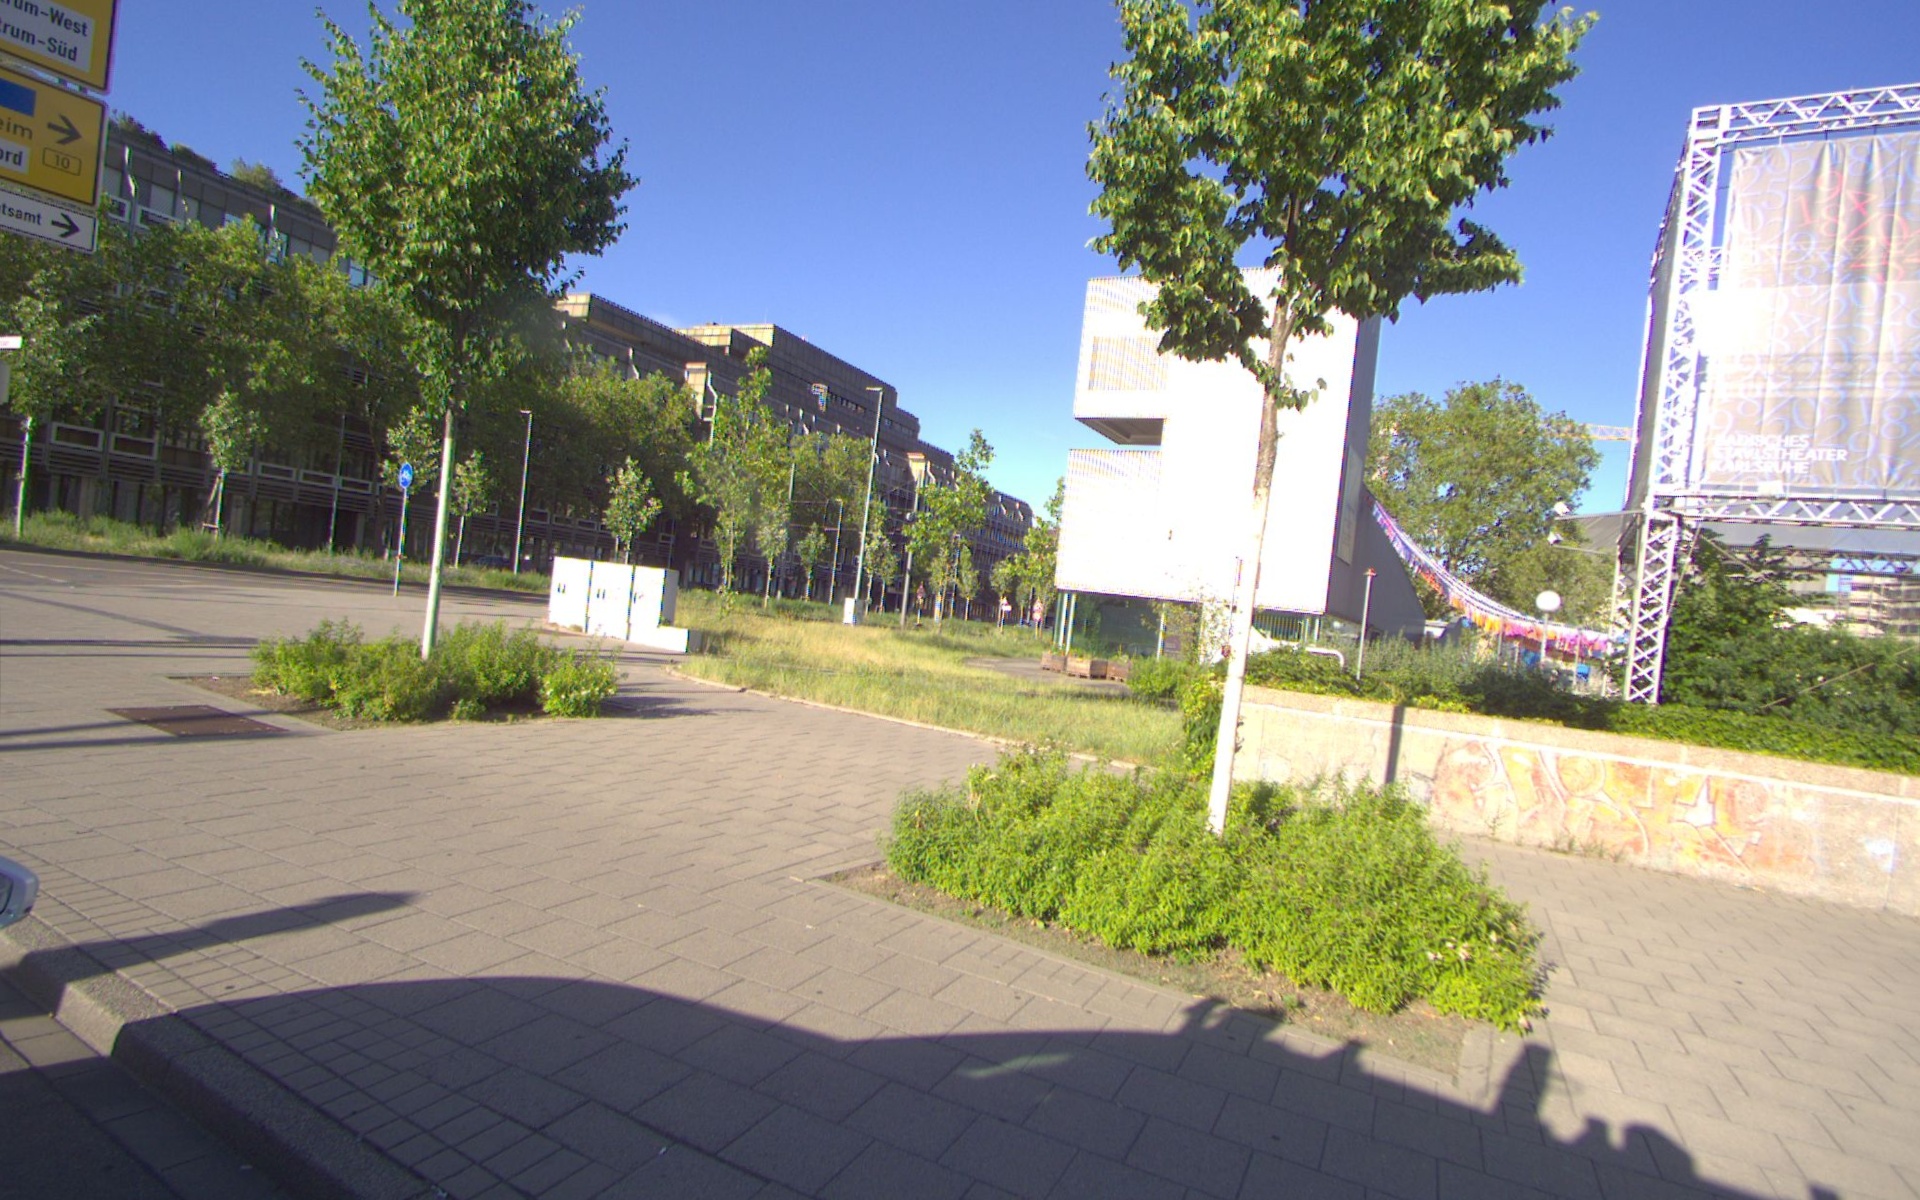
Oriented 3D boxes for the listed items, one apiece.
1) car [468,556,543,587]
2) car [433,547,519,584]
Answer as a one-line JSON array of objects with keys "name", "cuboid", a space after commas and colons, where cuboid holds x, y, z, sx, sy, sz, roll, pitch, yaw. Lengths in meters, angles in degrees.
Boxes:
[{"name": "car", "cuboid": [-28.233, -1.747, 62.531, 1.815, 1.504, 3.873, 3, -2, 29]}, {"name": "car", "cuboid": [-31.778, -2.237, 66.165, 1.964, 1.700, 4.868, 8, -1, 23]}]
